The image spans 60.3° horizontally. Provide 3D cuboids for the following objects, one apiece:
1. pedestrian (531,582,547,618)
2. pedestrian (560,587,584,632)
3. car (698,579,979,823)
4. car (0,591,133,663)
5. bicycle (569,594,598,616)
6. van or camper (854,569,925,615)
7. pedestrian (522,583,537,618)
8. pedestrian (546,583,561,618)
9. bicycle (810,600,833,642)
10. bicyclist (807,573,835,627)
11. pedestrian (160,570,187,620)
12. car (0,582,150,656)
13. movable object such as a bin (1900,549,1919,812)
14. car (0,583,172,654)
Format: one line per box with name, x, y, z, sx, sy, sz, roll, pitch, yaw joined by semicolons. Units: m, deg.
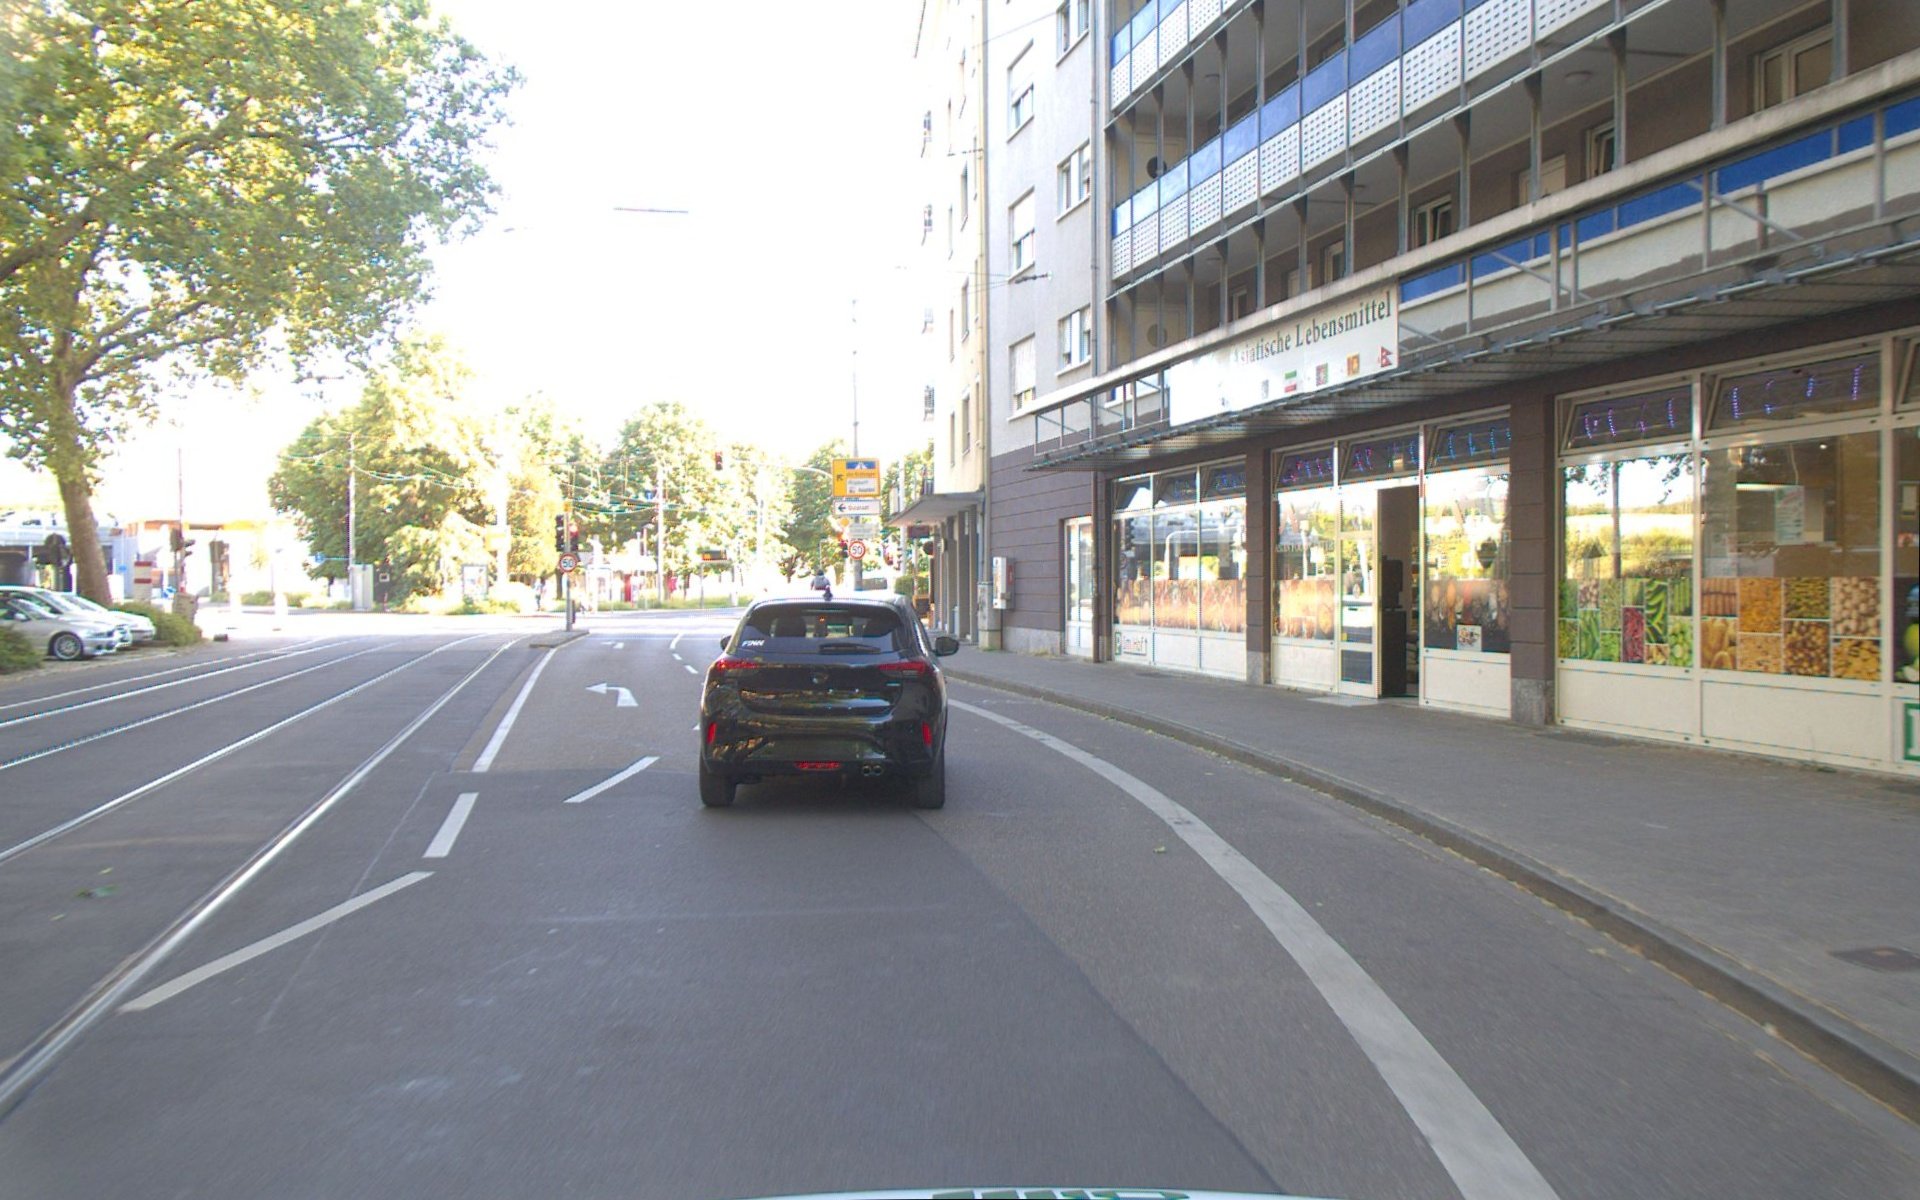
pedestrian;-22.977;-0.016;90.250;0.644;1.966;0.609;1;0;19
pedestrian;-12.192;0.289;51.968;0.640;1.387;0.644;-1;0;-5
car;-0.862;0.608;12.341;1.746;1.522;3.998;0;1;-3
car;-20.769;0.586;36.806;3.917;1.541;1.645;1;0;-13
bicycle;-17.963;0.240;78.972;0.772;1.009;2.244;1;0;3
van or camper;-3.435;-0.384;81.207;2.122;2.183;4.508;1;0;17
pedestrian;-23.213;0.032;89.178;0.603;1.886;0.584;1;0;11
pedestrian;-22.200;0.041;90.354;0.603;1.886;0.584;1;0;11
bicycle;-3.755;0.565;44.922;0.498;1.086;1.564;-1;0;-1
bicyclist;-3.767;-0.005;44.794;0.691;1.460;0.702;-1;0;-1
pedestrian;-36.241;-0.238;76.188;0.884;2.259;0.816;0;0;42
car;-21.809;0.431;39.488;4.101;1.700;1.956;-1;0;-17
movable object such as a bin;6.154;0.446;9.037;1.091;1.510;1.383;-2;1;-13
car;-22.407;0.456;41.896;4.101;1.700;1.956;-1;0;-17
